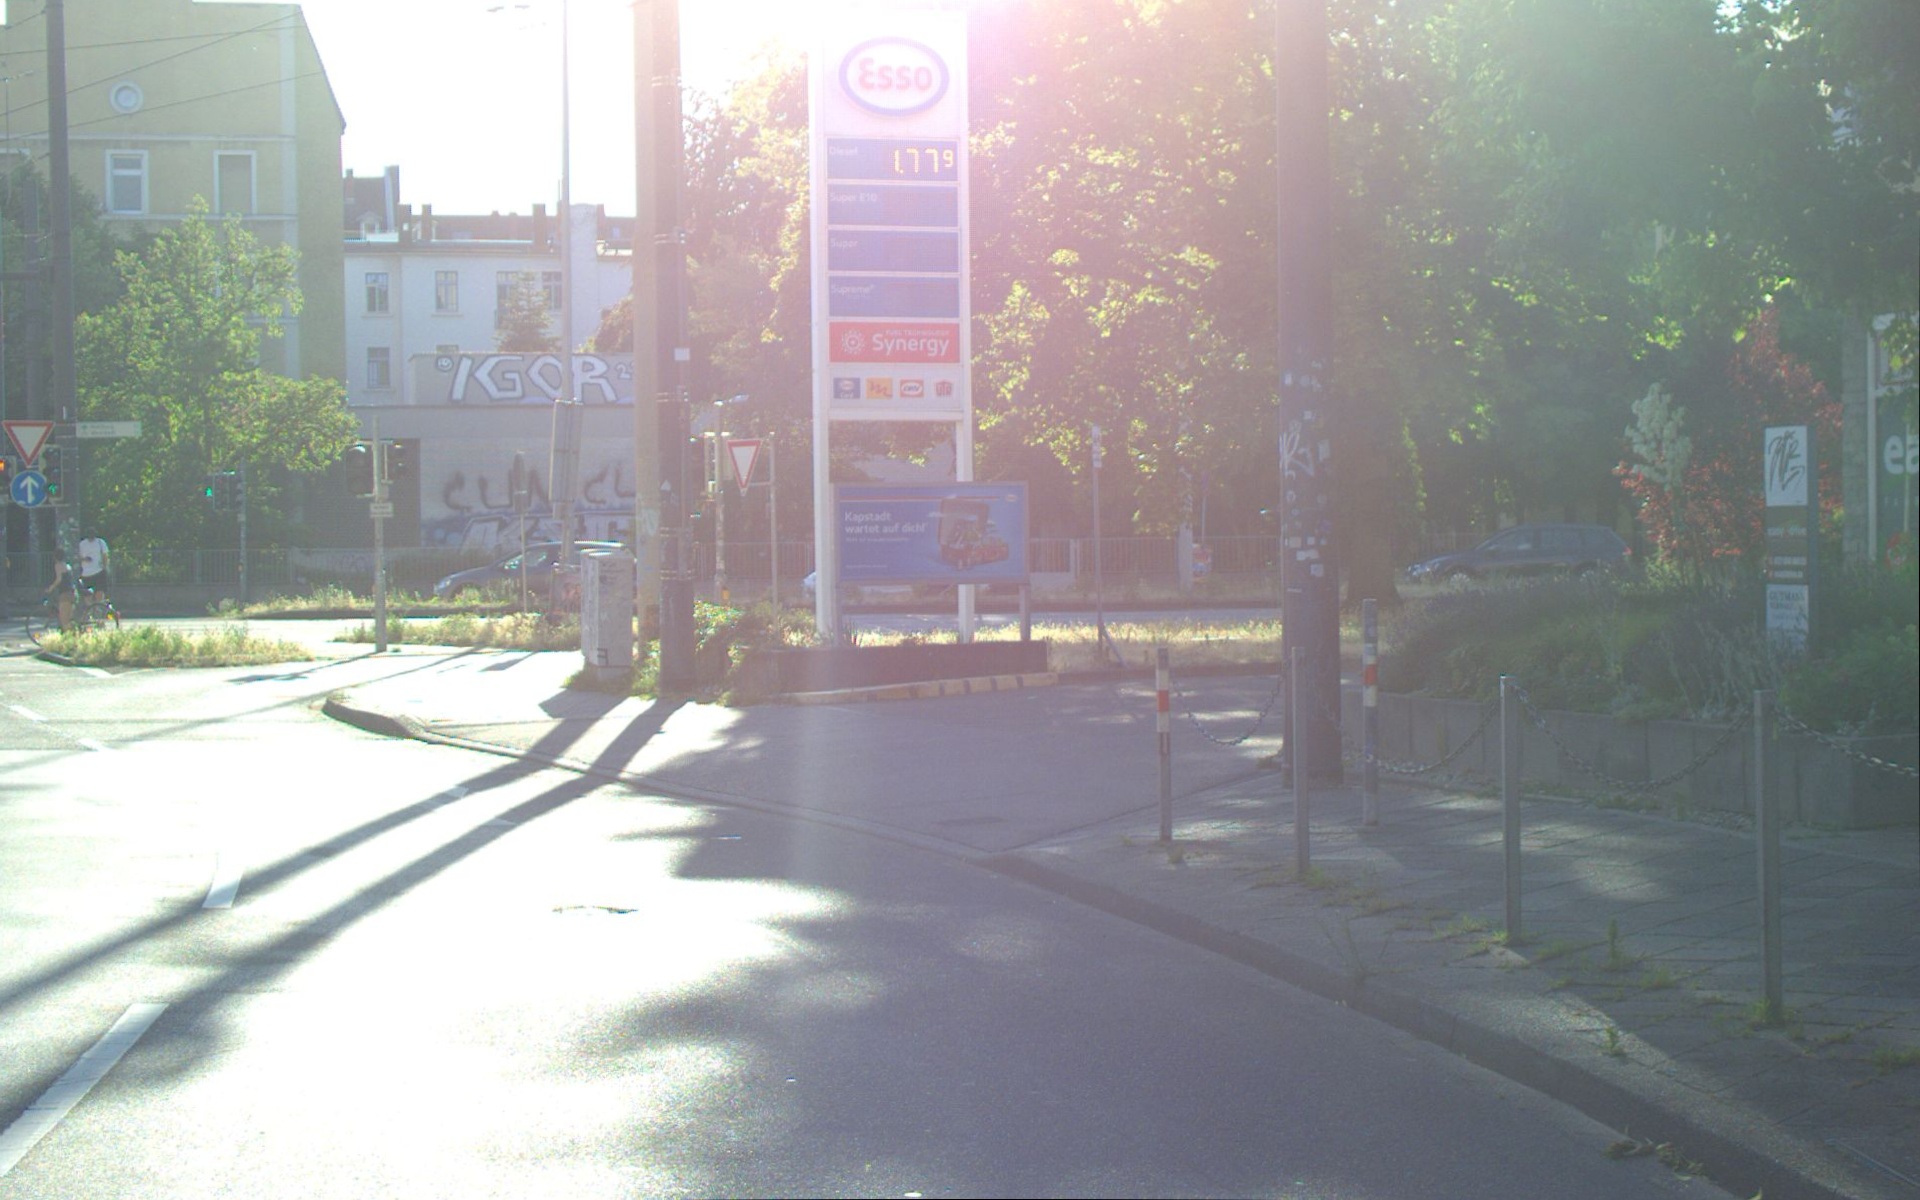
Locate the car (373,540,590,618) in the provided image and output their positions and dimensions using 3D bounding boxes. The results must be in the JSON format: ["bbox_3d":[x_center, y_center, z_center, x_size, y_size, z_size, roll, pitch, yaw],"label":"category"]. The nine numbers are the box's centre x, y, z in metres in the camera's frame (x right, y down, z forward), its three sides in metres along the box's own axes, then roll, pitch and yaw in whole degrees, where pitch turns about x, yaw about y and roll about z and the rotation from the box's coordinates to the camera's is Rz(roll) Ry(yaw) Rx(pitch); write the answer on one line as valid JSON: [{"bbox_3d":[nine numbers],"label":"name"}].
[{"bbox_3d":[-9.521,-0.432,68.596,3.987,1.448,1.809,-1,1,3],"label":"car"}]

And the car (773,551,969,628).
[{"bbox_3d":[-1.843,-0.224,71.943,3.987,1.502,1.672,-1,1,2],"label":"car"}]

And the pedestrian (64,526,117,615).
[{"bbox_3d":[-16.778,-0.580,66.343,0.926,1.686,0.778,-1,1,-12],"label":"pedestrian"}]

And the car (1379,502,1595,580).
[{"bbox_3d":[10.396,-1.173,68.034,3.987,1.448,1.687,-1,1,0],"label":"car"}]

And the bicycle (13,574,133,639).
[{"bbox_3d":[-14.223,0.095,55.114,1.832,0.981,0.734,-2,1,-16],"label":"bicycle"}]

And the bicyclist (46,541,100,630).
[{"bbox_3d":[-14.222,-0.233,55.123,0.803,1.409,0.624,-1,0,-15],"label":"bicyclist"}]
